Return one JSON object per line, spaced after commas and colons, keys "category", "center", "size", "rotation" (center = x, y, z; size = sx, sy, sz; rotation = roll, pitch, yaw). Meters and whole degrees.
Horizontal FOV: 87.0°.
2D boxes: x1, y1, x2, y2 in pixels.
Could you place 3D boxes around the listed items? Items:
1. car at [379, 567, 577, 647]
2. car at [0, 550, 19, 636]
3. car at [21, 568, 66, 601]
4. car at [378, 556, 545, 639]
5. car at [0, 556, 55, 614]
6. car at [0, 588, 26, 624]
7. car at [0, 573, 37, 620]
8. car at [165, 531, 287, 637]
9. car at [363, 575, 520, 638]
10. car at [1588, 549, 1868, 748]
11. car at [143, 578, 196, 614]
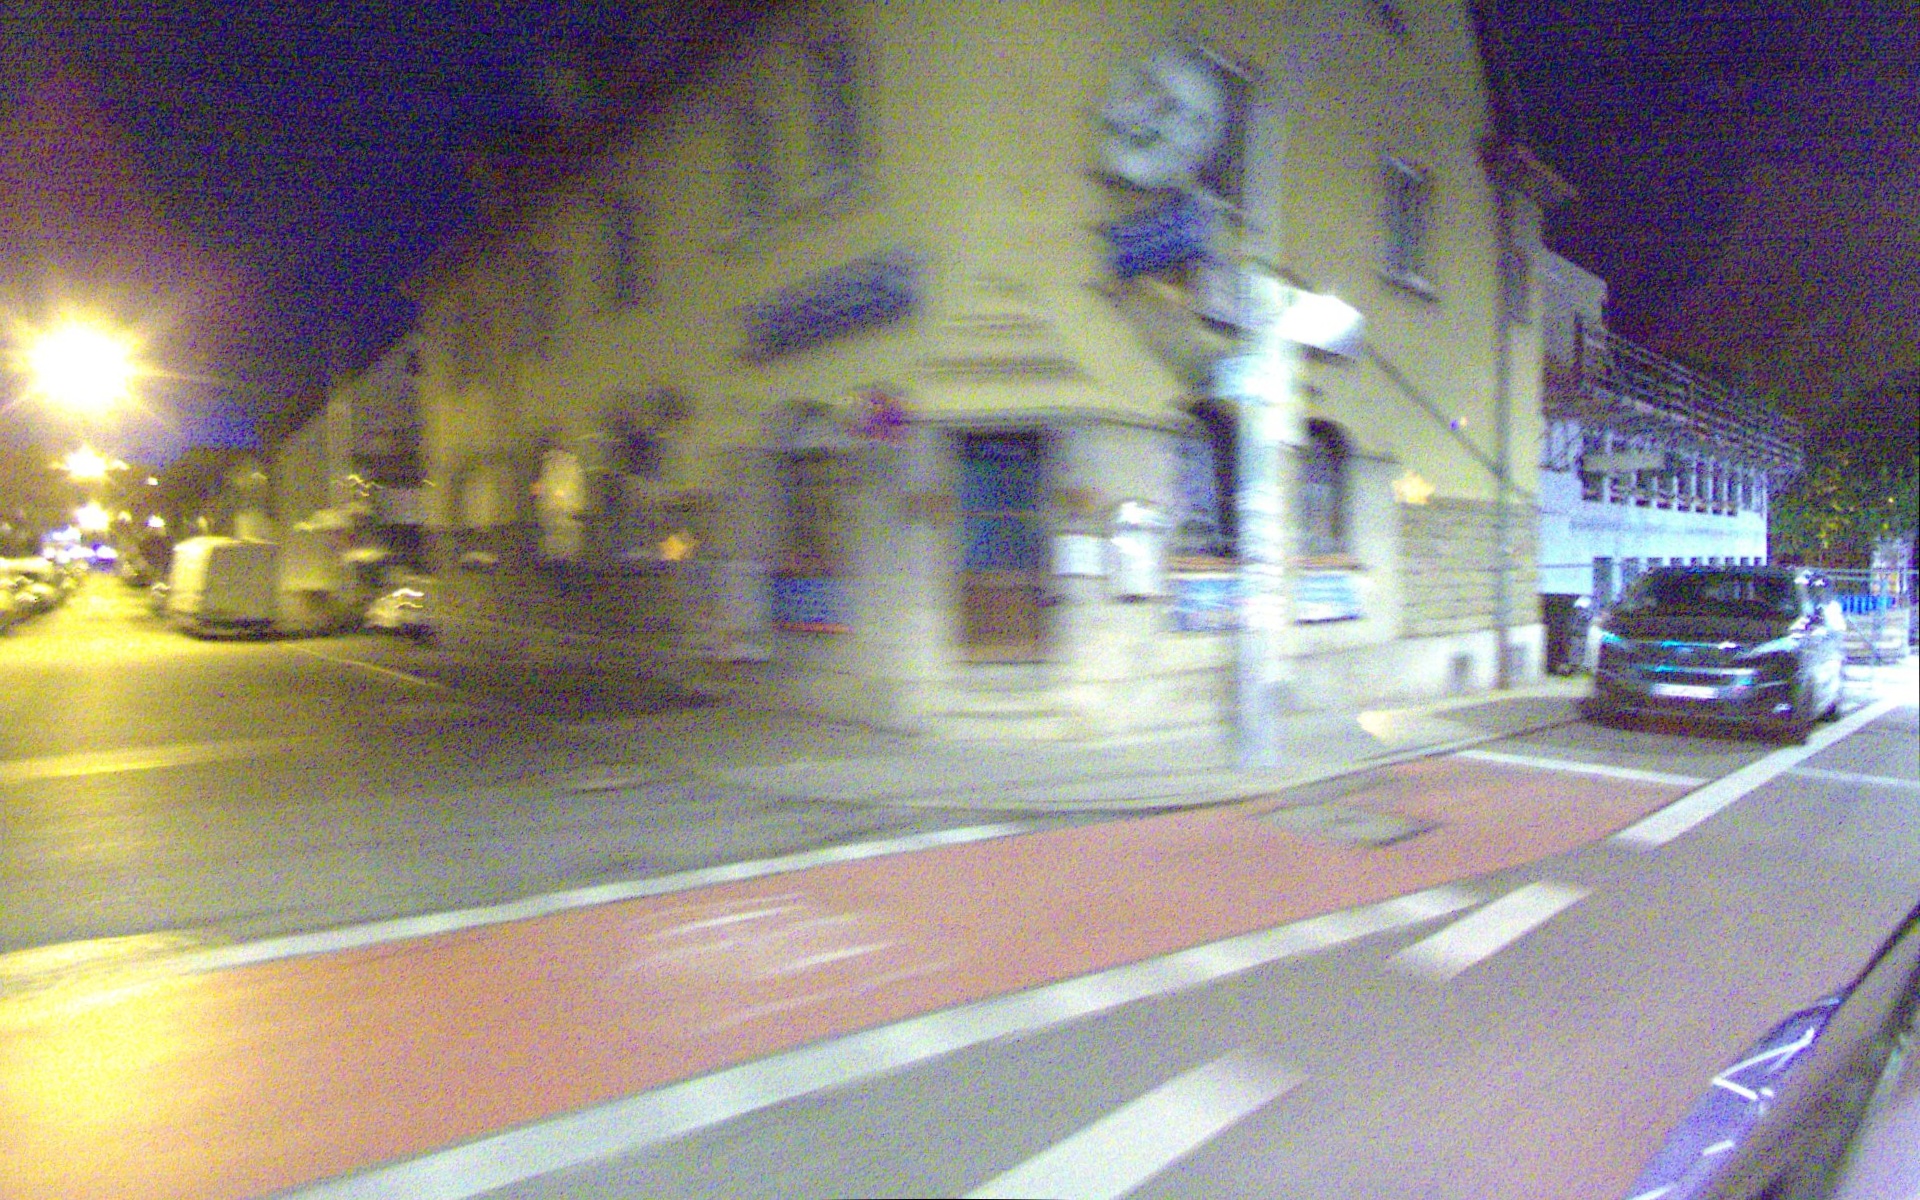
{"category": "car", "center": [-11.280, 0.128, 23.796], "size": [3.849, 1.704, 1.833], "rotation": [-1, 0, -42]}
{"category": "car", "center": [-28.189, -0.132, 28.490], "size": [2.091, 2.299, 5.472], "rotation": [-5, 3, -40]}
{"category": "car", "center": [-61.830, -1.033, 68.335], "size": [1.985, 1.993, 4.945], "rotation": [-5, 3, -41]}
{"category": "car", "center": [-12.670, -0.079, 25.787], "size": [3.440, 1.945, 1.839], "rotation": [-1, 0, -44]}
{"category": "car", "center": [-45.373, -0.704, 48.873], "size": [2.242, 2.547, 6.679], "rotation": [-5, 3, -41]}
{"category": "car", "center": [-35.719, 0.251, 37.459], "size": [1.519, 1.273, 3.244], "rotation": [-5, 3, -41]}
{"category": "car", "center": [-38.109, -0.110, 40.432], "size": [1.604, 1.770, 3.932], "rotation": [-5, 3, -41]}
{"category": "car", "center": [-20.548, -0.401, 28.199], "size": [2.278, 2.626, 6.331], "rotation": [0, 0, -40]}
{"category": "car", "center": [-14.042, 0.142, 27.500], "size": [3.441, 1.578, 1.753], "rotation": [-1, 0, -45]}
{"category": "car", "center": [9.076, 0.420, 11.782], "size": [4.820, 1.850, 1.912], "rotation": [0, 1, -44]}
{"category": "car", "center": [-36.841, -0.190, 47.128], "size": [1.698, 1.559, 4.217], "rotation": [-1, 0, -41]}
